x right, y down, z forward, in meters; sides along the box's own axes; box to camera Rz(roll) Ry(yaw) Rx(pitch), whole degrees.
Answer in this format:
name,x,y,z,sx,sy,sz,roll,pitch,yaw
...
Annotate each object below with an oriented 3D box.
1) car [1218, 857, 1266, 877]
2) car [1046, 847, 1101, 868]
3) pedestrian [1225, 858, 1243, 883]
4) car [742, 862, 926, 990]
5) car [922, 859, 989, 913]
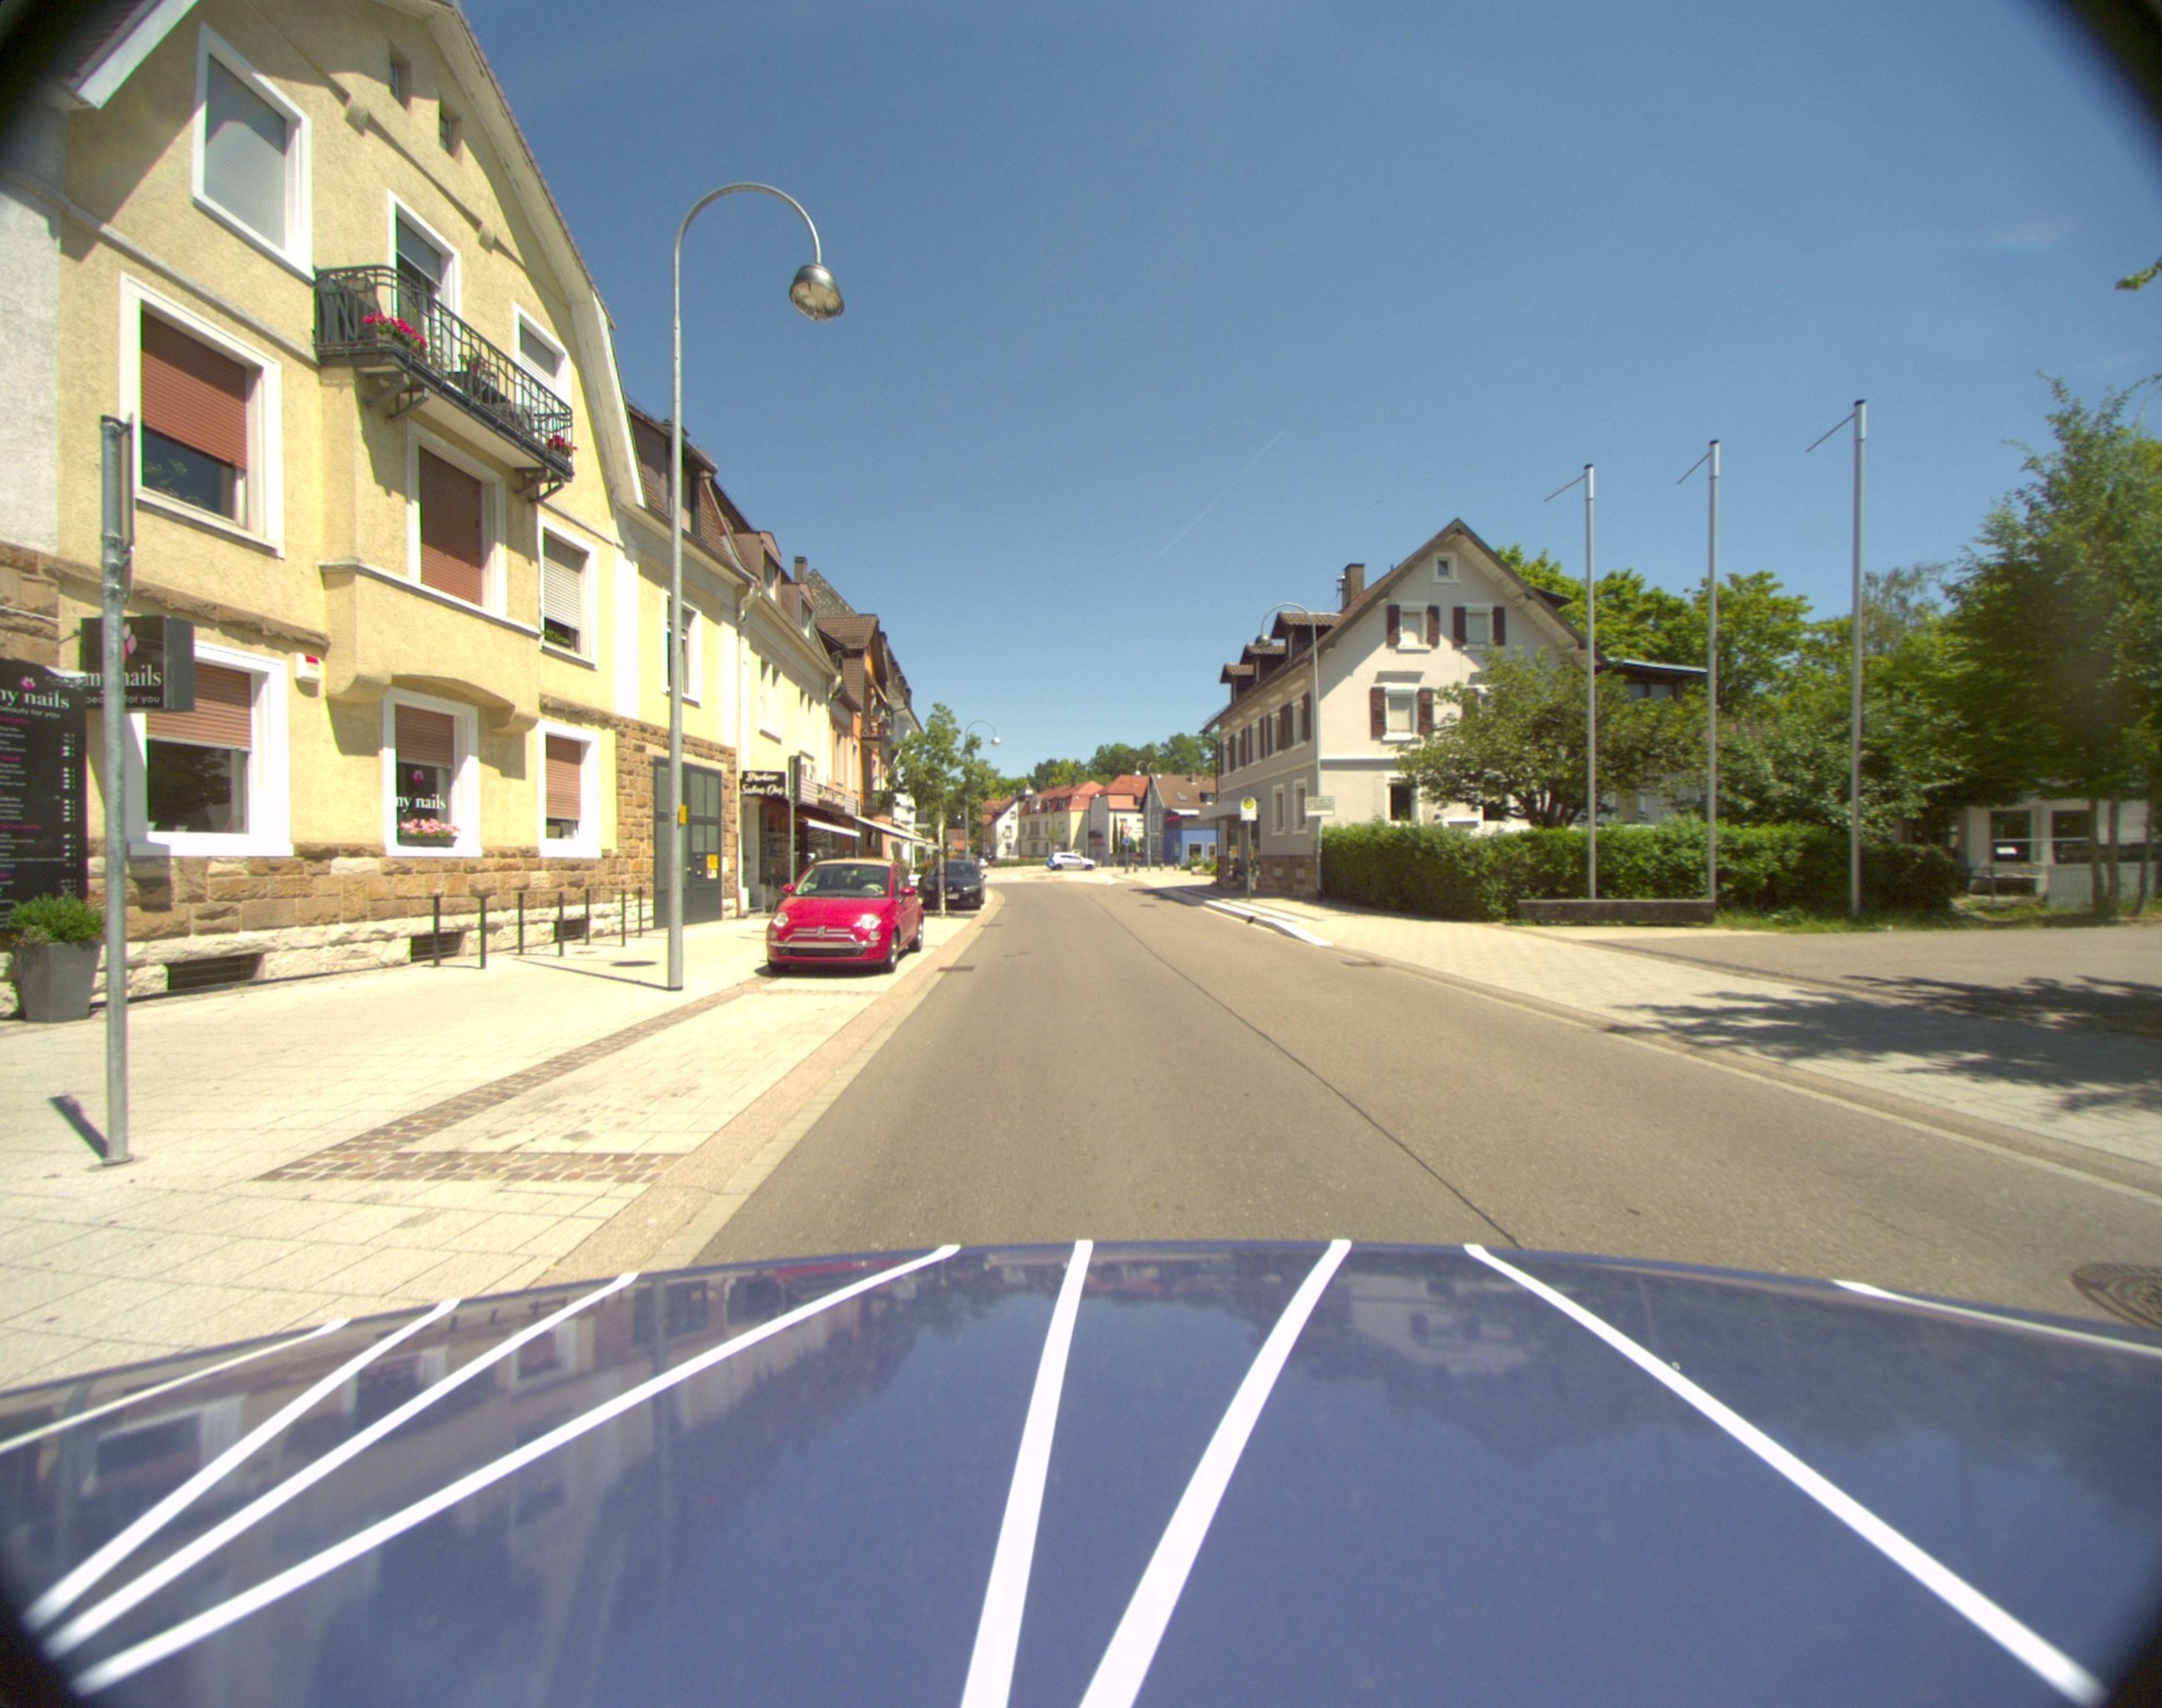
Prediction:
name,x,y,z,sx,sy,sz,roll,pitch,yaw
car,14.788,1.190,69.803,3.919,1.599,1.813,1,2,-15
car,-0.645,0.296,63.424,4.193,1.586,1.997,-1,0,-15
pedestrian,6.471,0.687,32.145,0.598,1.053,0.567,-1,1,-6
car,-3.350,0.901,10.946,1.684,1.505,3.385,1,0,-3
car,-3.861,0.941,23.995,1.735,1.464,4.321,2,0,-5
